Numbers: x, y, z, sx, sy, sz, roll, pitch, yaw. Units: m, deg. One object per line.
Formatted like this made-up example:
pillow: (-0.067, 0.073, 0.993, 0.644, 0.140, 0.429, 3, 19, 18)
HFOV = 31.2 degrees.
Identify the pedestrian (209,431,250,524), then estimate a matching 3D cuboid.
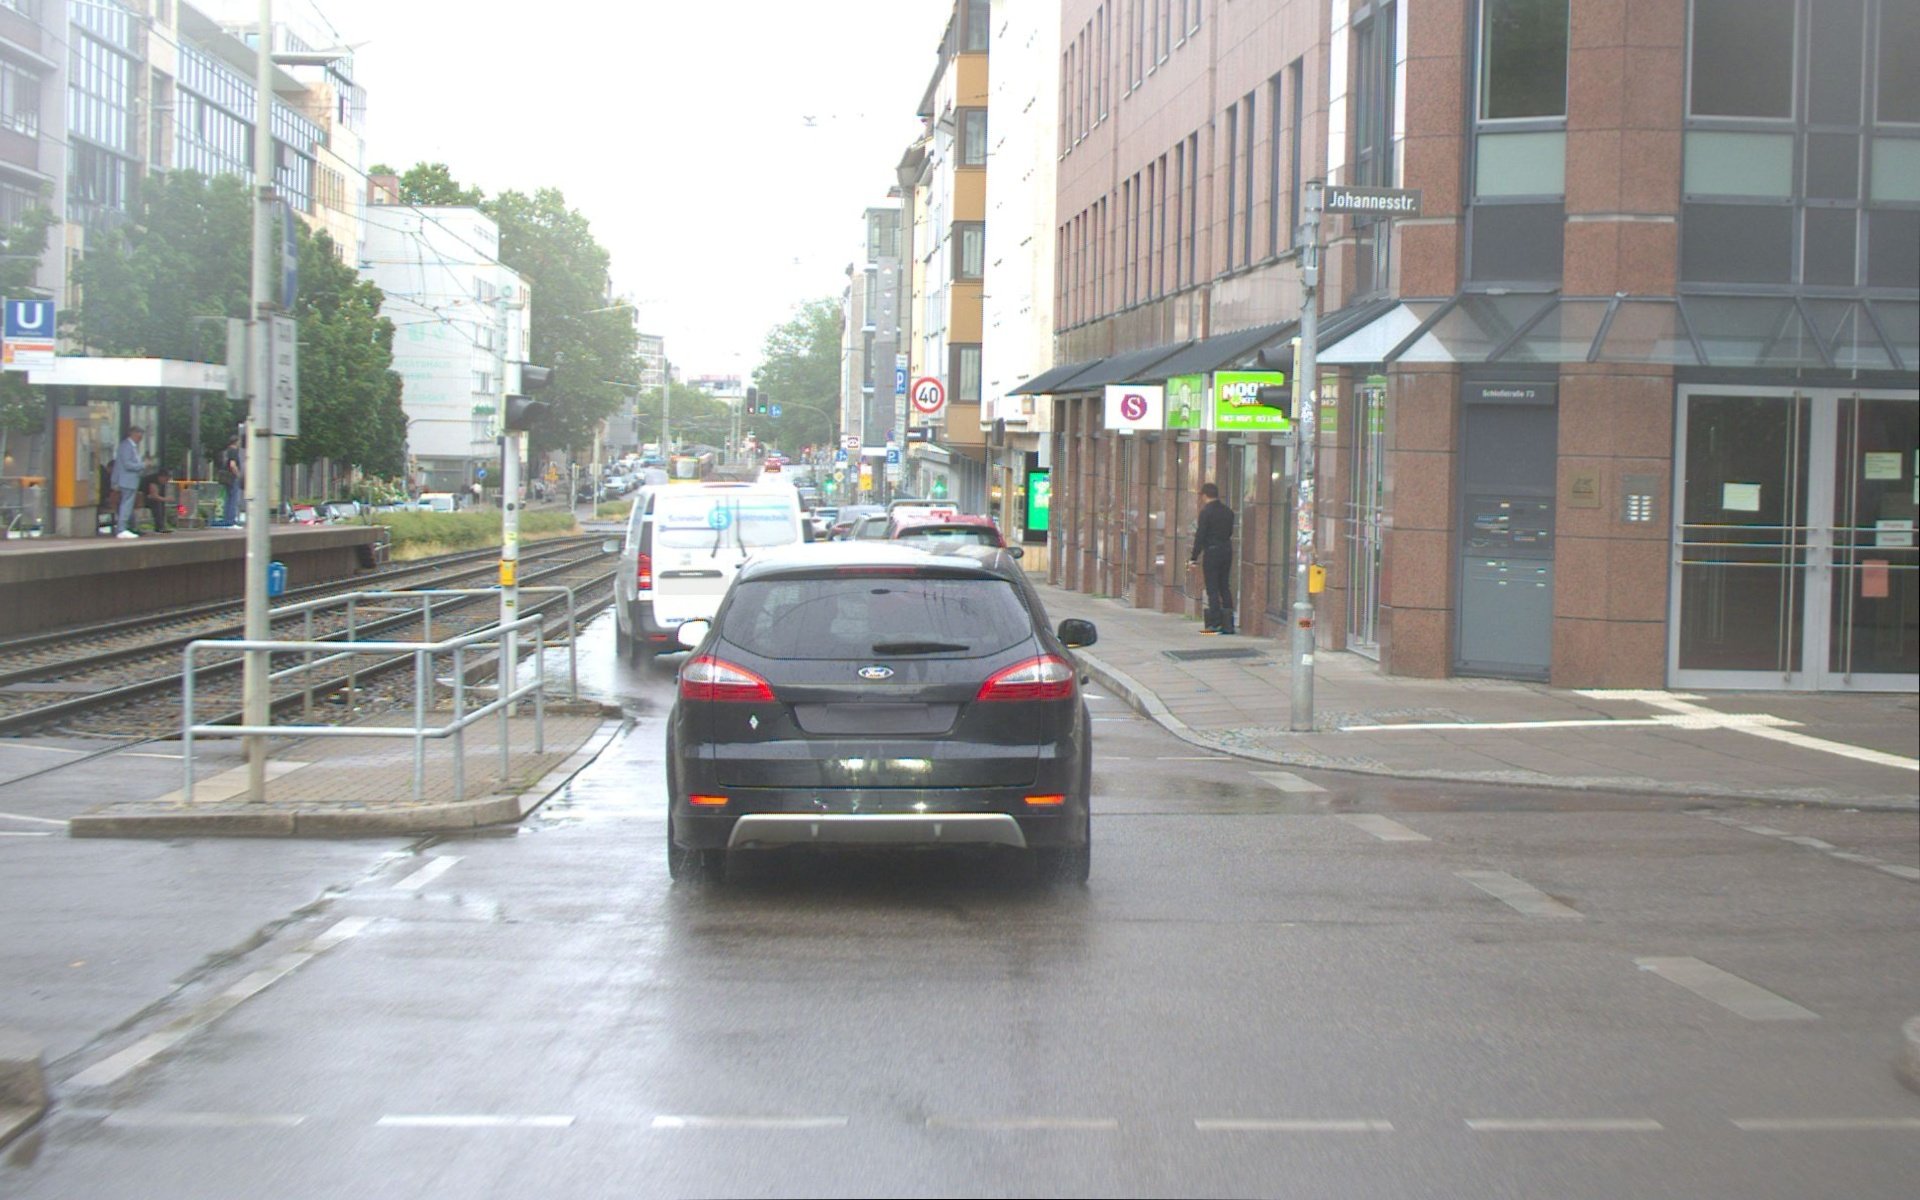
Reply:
pedestrian: (-14.273, -2.397, 67.173, 0.655, 1.795, 0.850, 1, 1, -5)

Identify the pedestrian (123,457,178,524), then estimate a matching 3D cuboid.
pedestrian: (-13.717, -1.850, 58.227, 0.892, 1.119, 0.850, 1, 1, -13)

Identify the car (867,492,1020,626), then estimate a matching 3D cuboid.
car: (-0.240, -0.496, 40.605, 1.698, 1.474, 3.867, -1, 1, -1)

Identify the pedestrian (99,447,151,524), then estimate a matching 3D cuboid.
pedestrian: (-13.626, -1.864, 56.129, 0.692, 1.245, 0.885, 1, 1, -5)

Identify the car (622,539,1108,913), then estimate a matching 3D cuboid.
car: (-0.451, 0.476, 15.403, 1.906, 1.457, 3.445, 1, 1, -3)

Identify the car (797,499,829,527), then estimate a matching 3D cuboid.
car: (-9.007, -5.333, 211.181, 1.906, 1.627, 4.574, 1, 1, -2)

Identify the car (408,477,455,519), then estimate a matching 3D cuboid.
car: (-24.220, -4.657, 157.634, 1.906, 1.858, 4.575, 1, 1, -6)

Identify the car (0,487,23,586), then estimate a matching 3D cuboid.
car: (-16.050, -0.992, 53.408, 1.807, 1.572, 5.022, 1, 1, -2)

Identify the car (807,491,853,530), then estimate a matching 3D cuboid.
car: (-5.640, -3.882, 149.289, 1.906, 1.627, 4.574, 1, 1, -2)

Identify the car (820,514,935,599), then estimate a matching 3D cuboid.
car: (-1.540, -0.826, 62.879, 1.773, 1.463, 4.610, 1, 1, -5)

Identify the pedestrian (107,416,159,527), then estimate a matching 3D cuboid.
pedestrian: (-12.960, -2.008, 53.877, 0.655, 1.705, 0.850, 1, 1, -5)

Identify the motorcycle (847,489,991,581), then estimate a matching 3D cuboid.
motorcycle: (-0.635, -1.015, 53.375, 2.085, 1.402, 0.798, 1, 1, 16)

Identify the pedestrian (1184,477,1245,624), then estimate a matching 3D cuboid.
pedestrian: (2.900, -0.563, 39.186, 0.601, 1.653, 0.625, 1, 1, -3)

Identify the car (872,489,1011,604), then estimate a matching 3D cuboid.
car: (-0.285, -0.721, 46.250, 1.698, 1.457, 3.867, -1, 1, -2)

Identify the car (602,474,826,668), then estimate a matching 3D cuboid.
car: (-2.626, -0.319, 35.705, 1.906, 1.858, 4.575, 1, 1, -9)
